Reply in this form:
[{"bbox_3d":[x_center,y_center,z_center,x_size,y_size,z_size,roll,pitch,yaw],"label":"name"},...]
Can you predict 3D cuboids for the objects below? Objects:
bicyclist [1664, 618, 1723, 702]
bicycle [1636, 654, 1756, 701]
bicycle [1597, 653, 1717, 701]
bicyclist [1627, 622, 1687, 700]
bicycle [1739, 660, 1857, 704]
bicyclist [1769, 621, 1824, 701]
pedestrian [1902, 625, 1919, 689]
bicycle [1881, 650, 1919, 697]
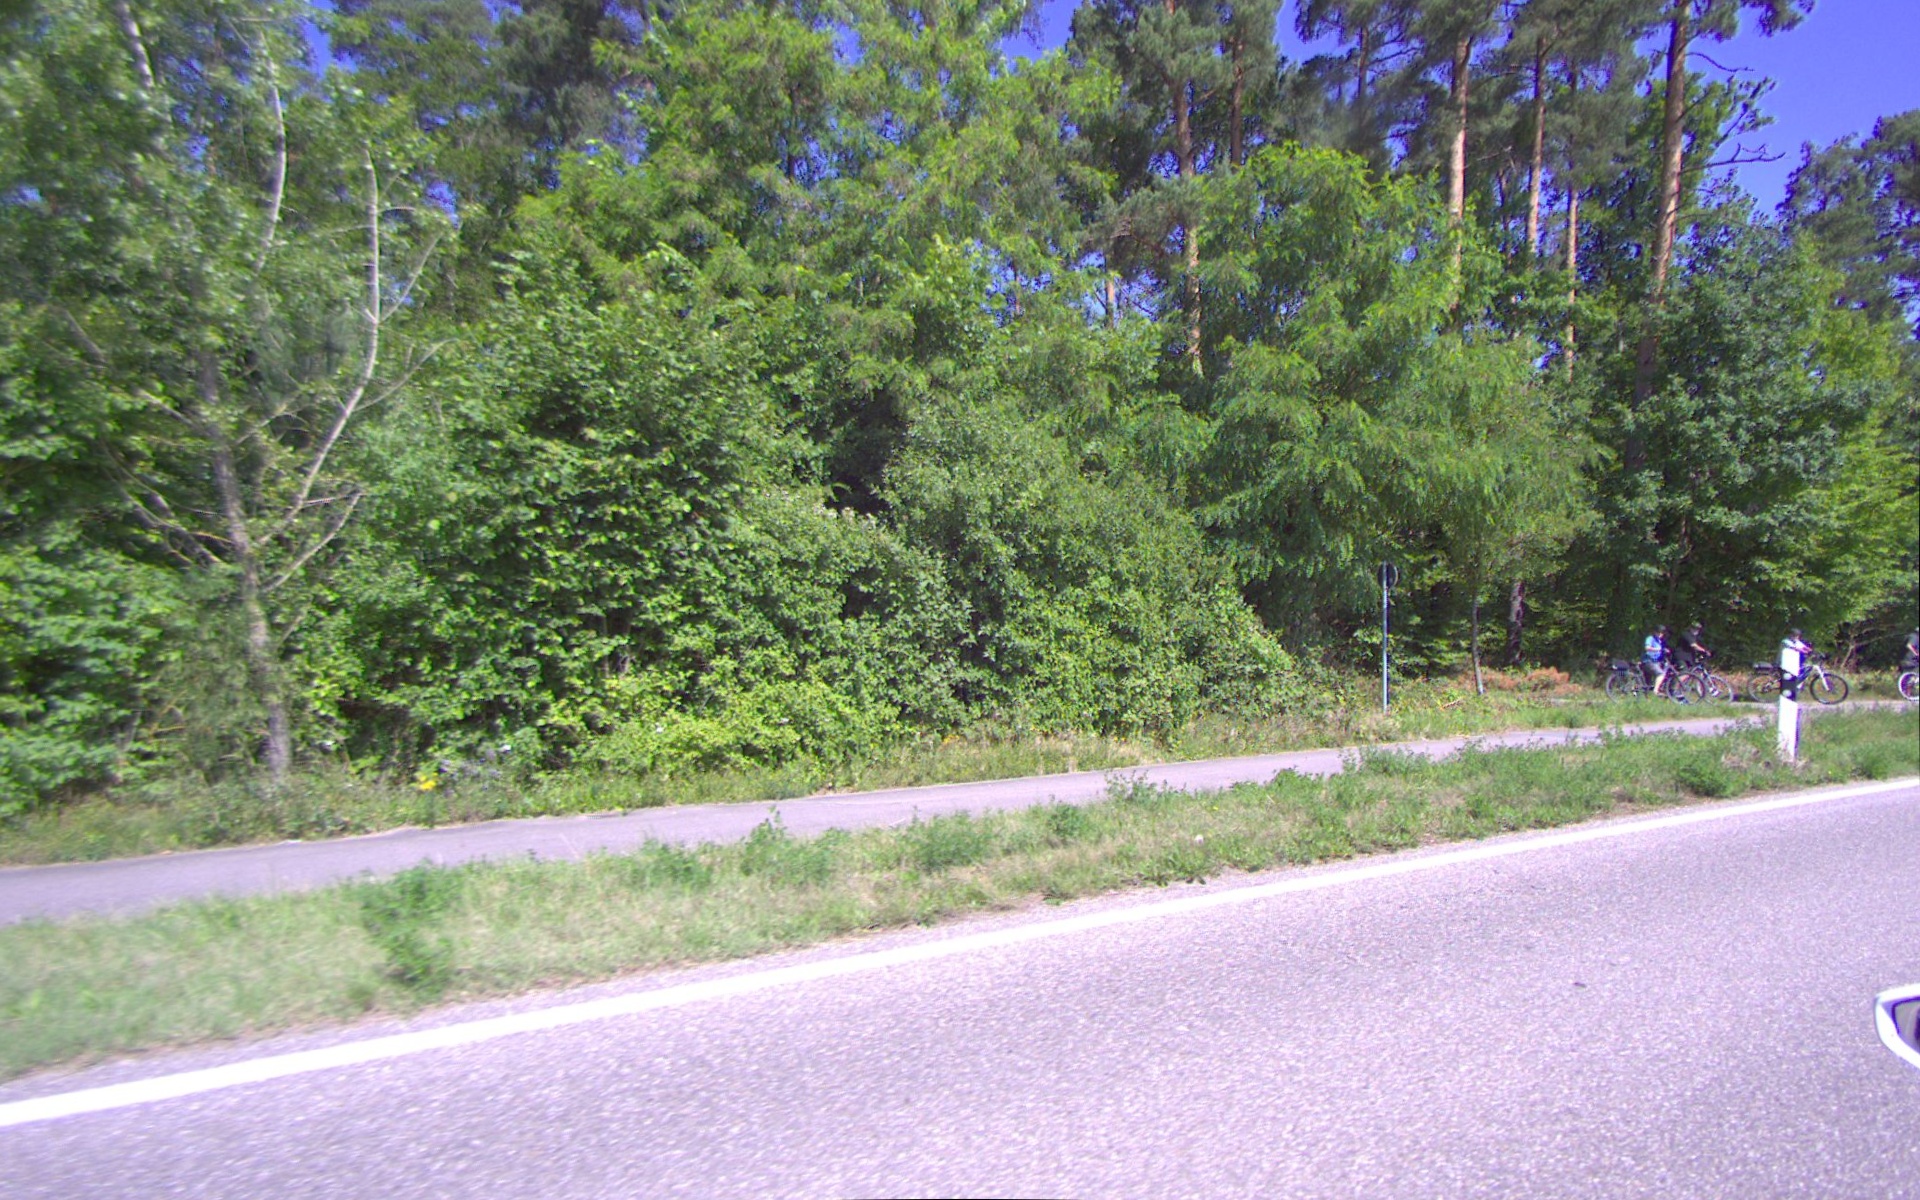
[{"bbox_3d":[15.805,1.274,21.665,0.834,1.723,0.606,2,0,19],"label":"bicyclist"},{"bbox_3d":[15.723,1.639,21.497,1.946,0.840,0.606,2,0,19],"label":"bicycle"},{"bbox_3d":[14.577,1.600,21.048,1.946,0.840,0.606,2,0,19],"label":"bicycle"},{"bbox_3d":[14.595,1.260,21.050,0.854,1.566,0.606,2,0,19],"label":"bicyclist"},{"bbox_3d":[19.135,1.860,22.983,1.948,0.840,0.605,2,0,26],"label":"bicycle"},{"bbox_3d":[19.128,1.378,22.983,0.774,1.742,0.605,2,1,26],"label":"bicyclist"},{"bbox_3d":[23.525,1.399,24.796,0.386,1.559,0.282,1,-1,-30],"label":"pedestrian"},{"bbox_3d":[23.526,1.786,24.570,1.418,1.101,0.582,0,1,4],"label":"bicycle"}]
